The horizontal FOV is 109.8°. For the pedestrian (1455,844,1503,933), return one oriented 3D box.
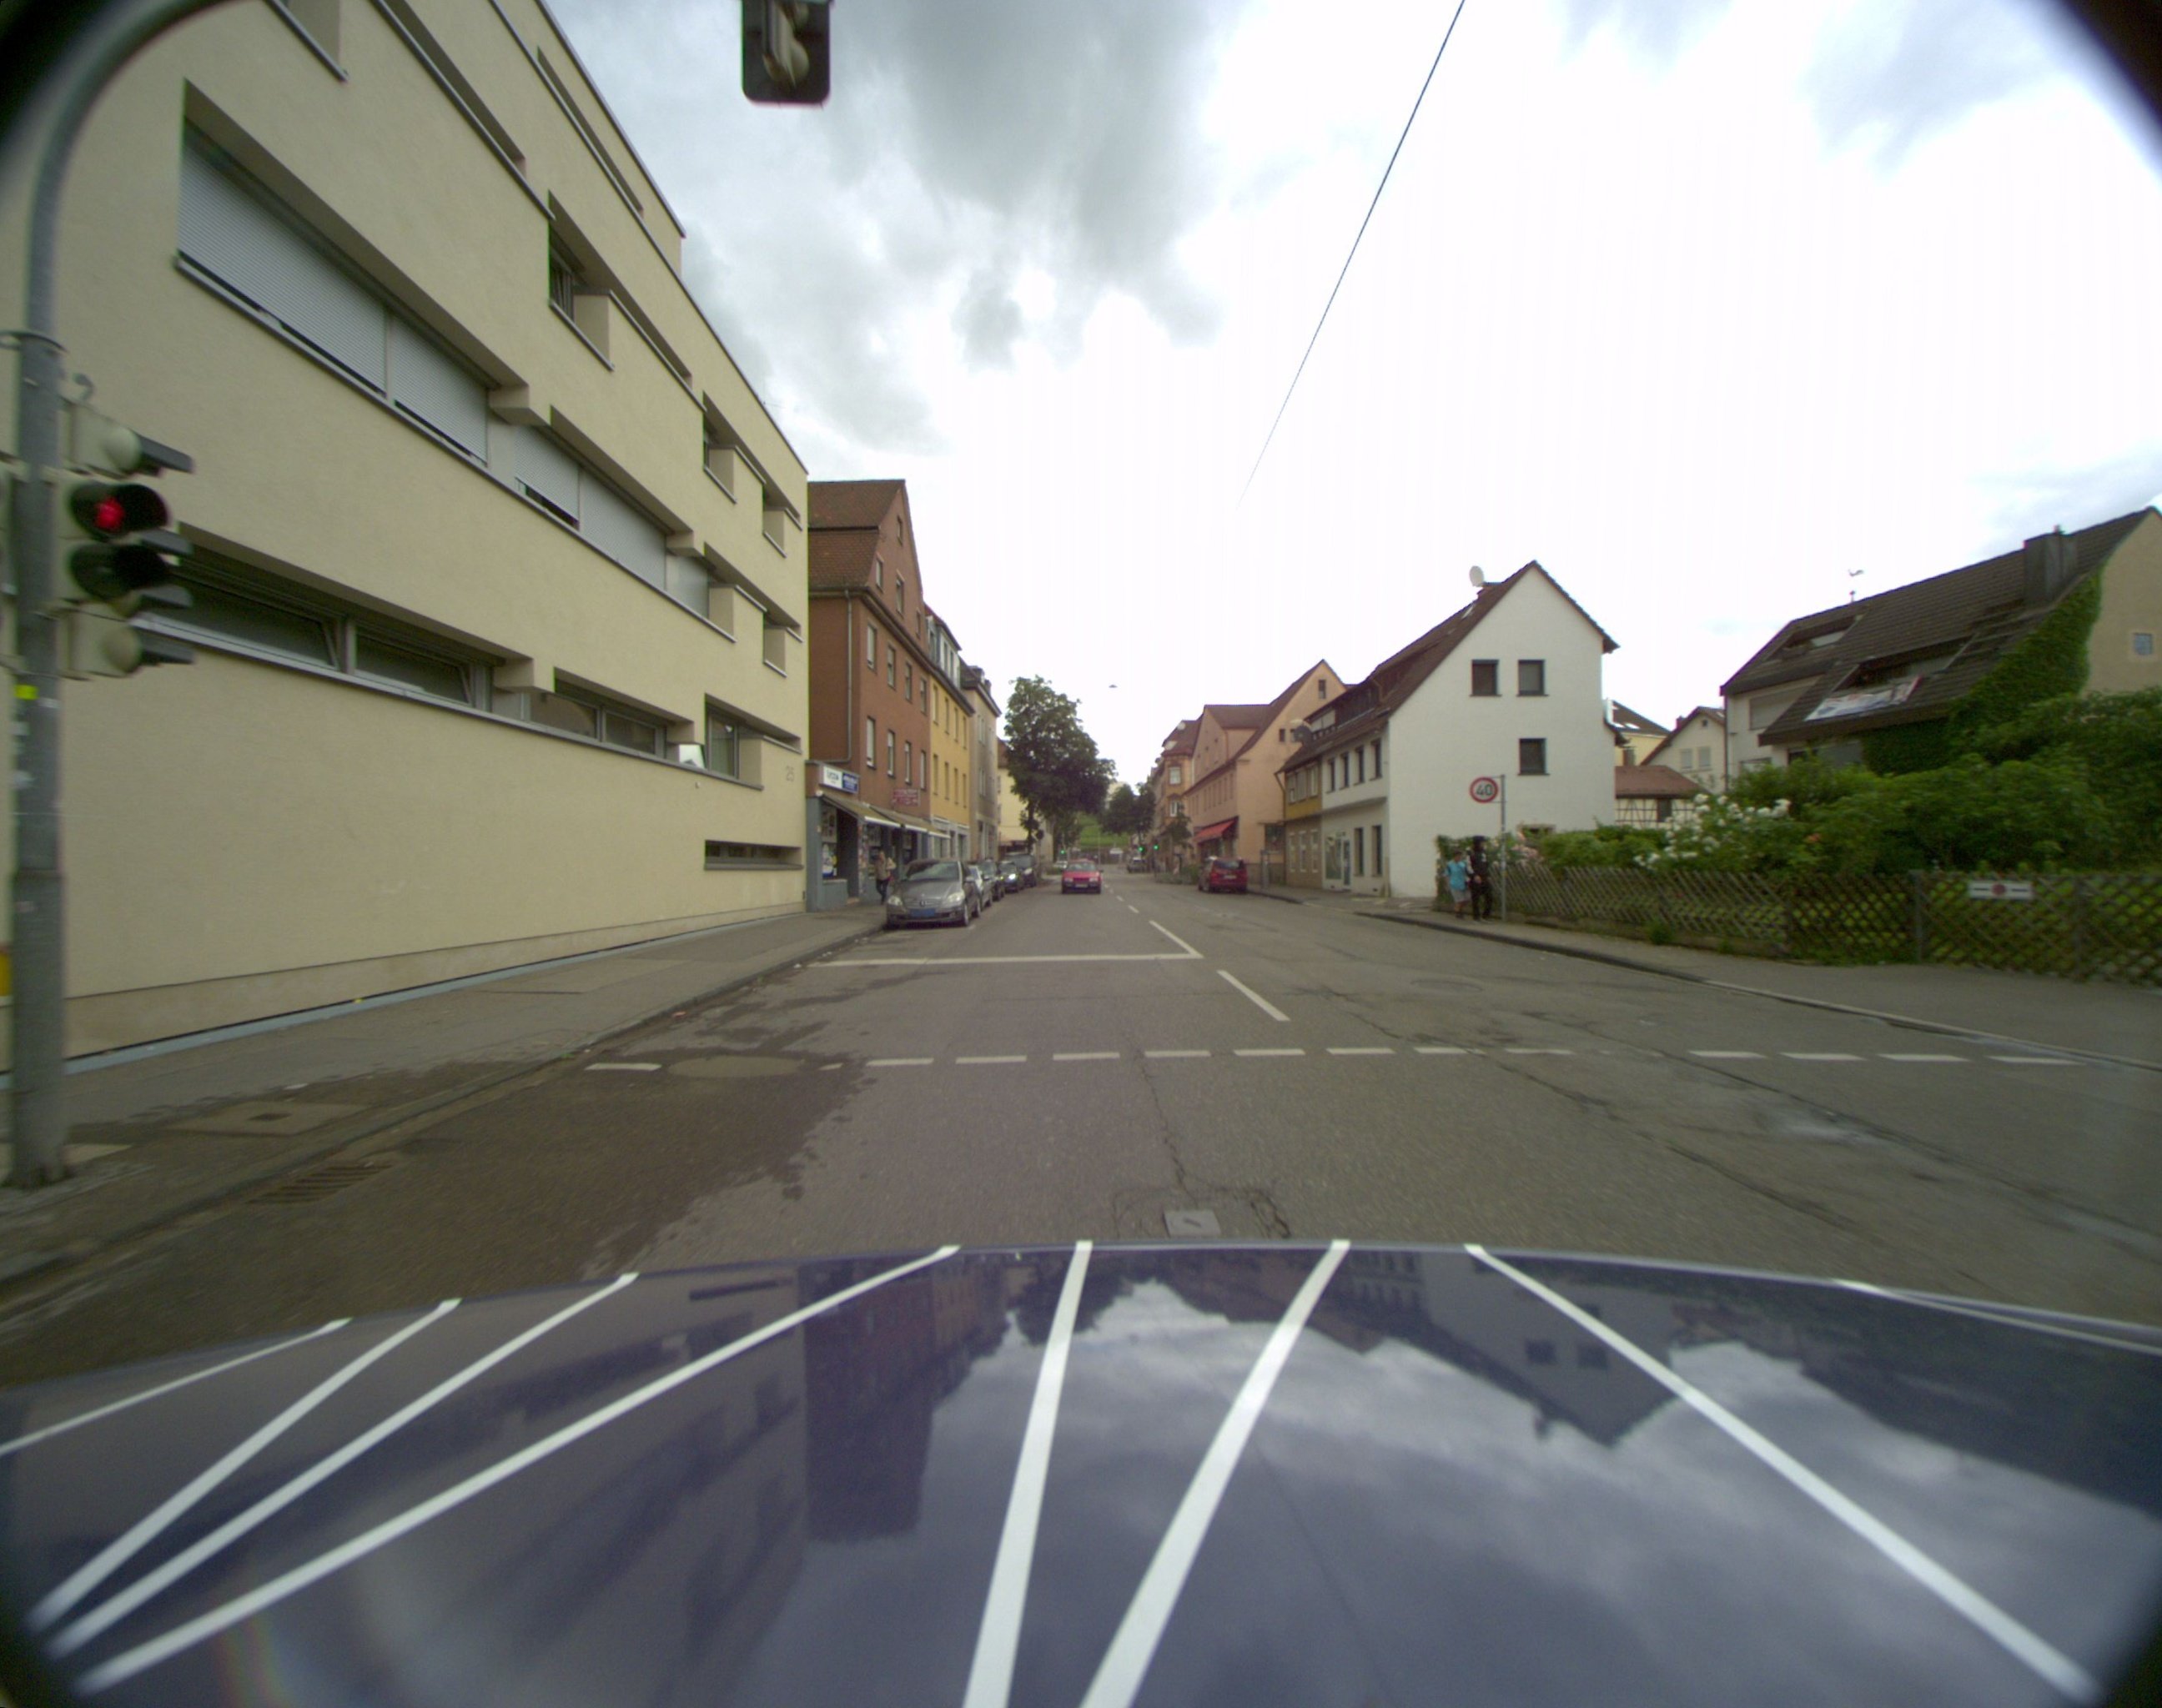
[{"bbox_3d":[8.552,0.736,16.338,0.572,1.837,0.697,-3,0,1],"label":"pedestrian"}]

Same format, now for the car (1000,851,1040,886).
[{"bbox_3d":[-3.199,0.728,40.406,1.824,1.770,4.402,-1,0,-1],"label":"car"}]

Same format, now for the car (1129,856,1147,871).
[{"bbox_3d":[6.659,1.091,88.797,1.895,1.702,4.742,1,0,2],"label":"car"}]

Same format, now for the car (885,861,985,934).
[{"bbox_3d":[-3.423,0.960,18.432,1.716,1.551,3.785,-1,0,-1],"label":"car"}]

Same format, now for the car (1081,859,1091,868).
[{"bbox_3d":[1.138,1.952,160.610,1.998,1.970,4.878,-1,0,1],"label":"car"}]

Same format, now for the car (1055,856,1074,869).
[{"bbox_3d":[-1.940,0.989,89.341,1.771,1.457,4.785,-1,0,4],"label":"car"}]

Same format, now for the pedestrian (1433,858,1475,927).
[{"bbox_3d":[8.560,0.875,17.454,0.572,1.545,0.697,-2,0,1],"label":"pedestrian"}]

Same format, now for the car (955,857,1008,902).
[{"bbox_3d":[-3.714,0.913,28.927,1.606,1.509,4.208,-1,0,-2],"label":"car"}]

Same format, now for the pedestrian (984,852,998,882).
[{"bbox_3d":[-5.091,0.740,43.076,0.616,1.643,0.983,2,0,0],"label":"pedestrian"}]

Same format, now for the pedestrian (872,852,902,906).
[{"bbox_3d":[-5.966,0.757,23.388,0.703,1.639,0.888,1,0,0],"label":"pedestrian"}]

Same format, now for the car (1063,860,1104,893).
[{"bbox_3d":[0.169,0.955,34.249,1.626,1.387,4.001,-1,0,3],"label":"car"}]

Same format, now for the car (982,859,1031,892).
[{"bbox_3d":[-3.417,0.971,35.438,1.755,1.397,4.511,0,0,1],"label":"car"}]

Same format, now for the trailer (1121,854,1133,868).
[{"bbox_3d":[9.433,1.407,155.875,2.450,2.787,6.305,1,0,4],"label":"trailer"}]

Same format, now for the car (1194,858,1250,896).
[{"bbox_3d":[6.411,1.017,35.015,1.707,1.565,4.450,2,0,0],"label":"car"}]

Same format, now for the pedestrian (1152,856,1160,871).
[{"bbox_3d":[8.728,1.064,88.838,0.740,1.708,1.156,-1,0,-2],"label":"pedestrian"}]

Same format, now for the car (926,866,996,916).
[{"bbox_3d":[-3.572,1.054,23.198,1.555,1.325,3.812,-1,0,-1],"label":"car"}]

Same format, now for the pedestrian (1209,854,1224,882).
[{"bbox_3d":[8.285,0.847,46.461,0.732,1.619,0.758,-2,1,-3],"label":"pedestrian"}]

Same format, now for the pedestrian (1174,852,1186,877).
[{"bbox_3d":[7.242,0.772,55.466,0.740,1.744,0.983,-1,0,1],"label":"pedestrian"}]
